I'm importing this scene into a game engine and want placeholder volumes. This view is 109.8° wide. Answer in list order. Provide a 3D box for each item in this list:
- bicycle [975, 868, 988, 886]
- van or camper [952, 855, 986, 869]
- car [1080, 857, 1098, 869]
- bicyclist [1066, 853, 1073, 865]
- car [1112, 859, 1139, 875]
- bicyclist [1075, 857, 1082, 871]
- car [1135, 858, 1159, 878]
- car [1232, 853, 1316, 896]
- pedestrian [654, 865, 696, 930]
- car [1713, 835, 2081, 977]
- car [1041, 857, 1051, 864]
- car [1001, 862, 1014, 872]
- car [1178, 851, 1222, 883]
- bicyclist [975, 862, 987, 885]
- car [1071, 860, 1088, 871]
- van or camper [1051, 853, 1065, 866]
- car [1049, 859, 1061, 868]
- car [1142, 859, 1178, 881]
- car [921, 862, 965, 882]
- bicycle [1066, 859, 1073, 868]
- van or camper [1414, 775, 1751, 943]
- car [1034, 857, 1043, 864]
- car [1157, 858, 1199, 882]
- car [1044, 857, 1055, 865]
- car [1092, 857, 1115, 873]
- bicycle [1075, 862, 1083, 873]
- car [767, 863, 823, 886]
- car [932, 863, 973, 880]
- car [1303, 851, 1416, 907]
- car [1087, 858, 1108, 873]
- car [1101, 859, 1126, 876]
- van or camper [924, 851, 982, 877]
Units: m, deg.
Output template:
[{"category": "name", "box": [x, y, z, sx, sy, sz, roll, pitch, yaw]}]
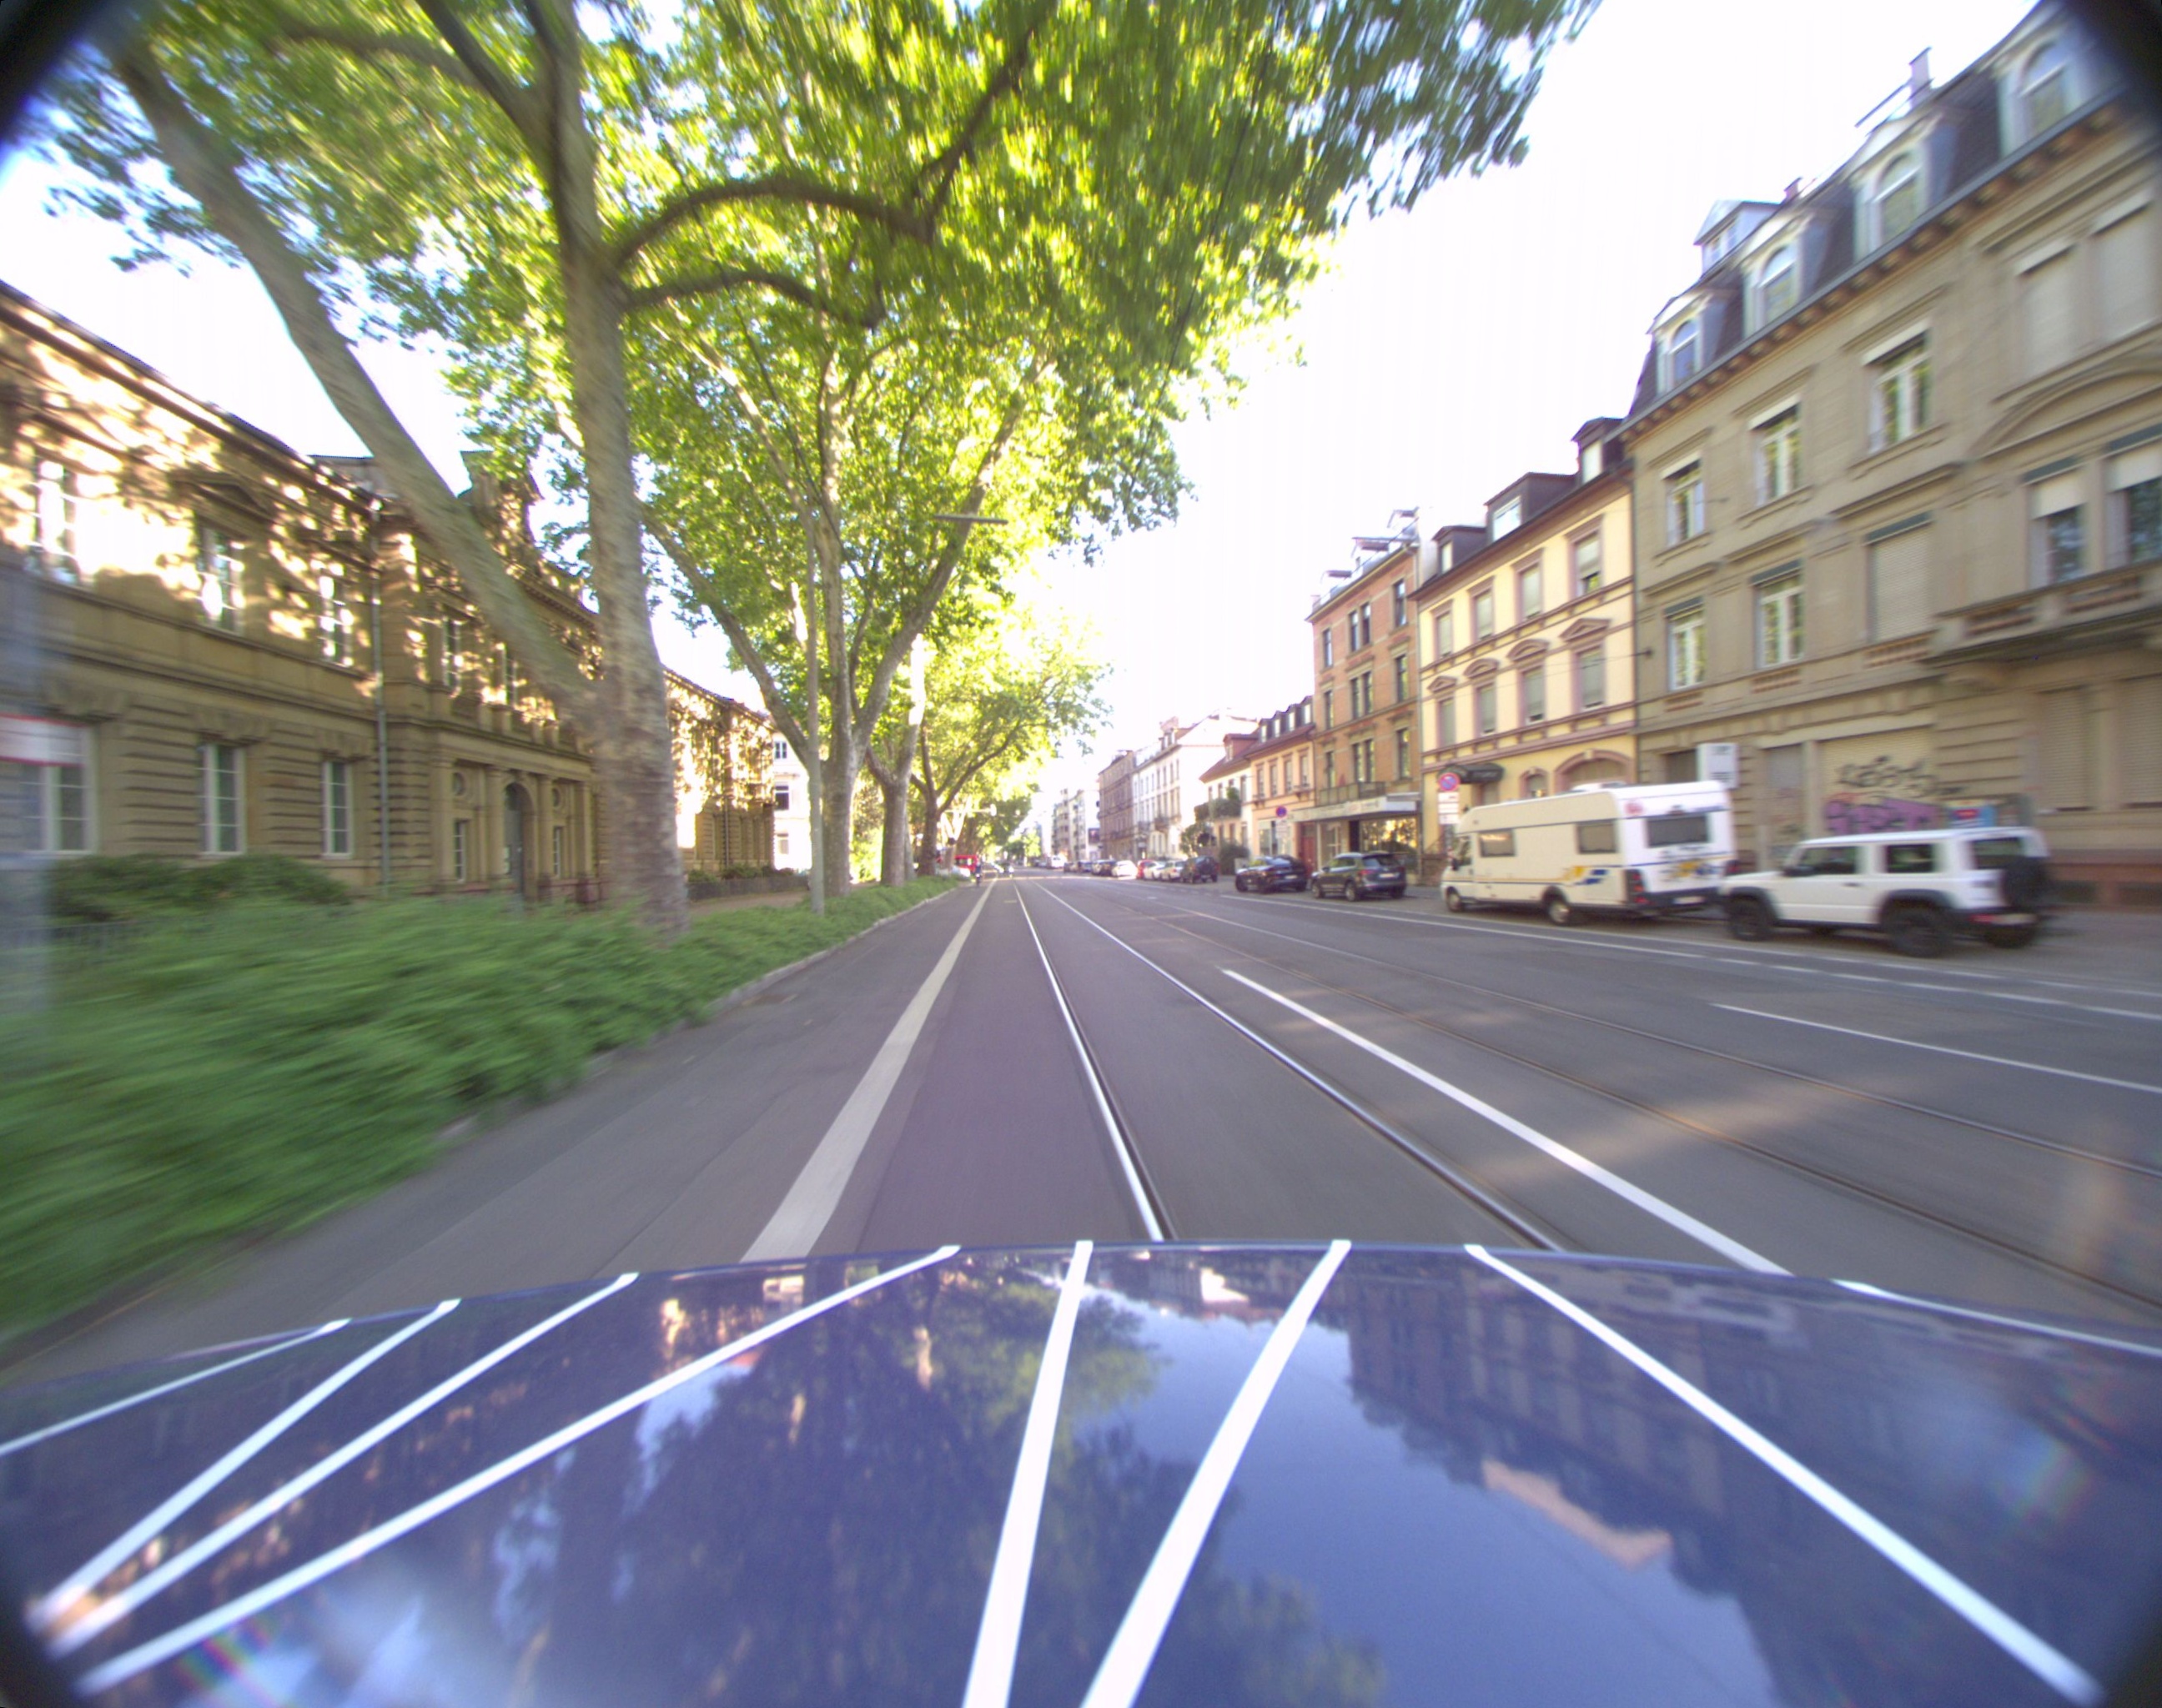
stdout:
[{"category": "bicycle", "box": [-6.370, 1.464, 48.568, 0.715, 1.131, 2.119, -1, 0, -6]}, {"category": "van or camper", "box": [-20.601, 1.465, 140.351, 6.102, 2.416, 2.427, -1, 0, -6]}, {"category": "car", "box": [0.977, 1.130, 96.427, 1.799, 1.368, 4.081, -3, 0, -7]}, {"category": "bicyclist", "box": [-1.442, 0.634, 93.453, 0.715, 1.508, 0.953, -1, 0, -6]}, {"category": "car", "box": [4.174, 1.220, 72.073, 1.869, 1.423, 4.081, -3, 0, -7]}, {"category": "bicyclist", "box": [-0.258, 1.057, 83.623, 0.715, 1.508, 0.953, -1, 0, -6]}, {"category": "car", "box": [5.337, 1.123, 61.889, 1.422, 1.502, 3.324, -3, 0, -4]}, {"category": "car", "box": [8.662, 0.886, 34.617, 2.000, 1.693, 4.747, -5, 0, -7]}, {"category": "pedestrian", "box": [-11.234, 1.174, 21.037, 0.652, 1.726, 1.007, -1, 0, -6]}, {"category": "car", "box": [11.874, 0.671, 11.397, 1.636, 1.696, 3.368, -4, 0, -9]}, {"category": "car", "box": [-7.999, 1.499, 174.025, 1.809, 1.534, 3.916, -3, 0, -9]}, {"category": "car", "box": [-11.031, 1.861, 113.445, 1.741, 1.365, 3.916, -3, 0, -7]}, {"category": "car", "box": [7.272, 0.796, 46.782, 1.729, 1.736, 3.624, -5, 0, -6]}, {"category": "bicyclist", "box": [-6.377, 1.230, 48.578, 0.715, 1.435, 0.953, -1, 0, -5]}, {"category": "car", "box": [-0.254, 1.643, 108.442, 1.799, 1.473, 4.081, -3, 0, -7]}, {"category": "van or camper", "box": [-4.153, 0.957, 137.967, 1.946, 2.267, 4.595, -3, 0, -7]}, {"category": "car", "box": [-4.911, 1.735, 144.029, 1.809, 1.534, 3.916, -3, 0, -7]}, {"category": "car", "box": [5.821, 1.168, 56.503, 1.587, 1.482, 4.468, -3, 0, -7]}, {"category": "car", "box": [-12.038, 1.570, 66.499, 3.679, 1.534, 1.613, -1, 3, -6]}, {"category": "bicycle", "box": [-1.410, 1.176, 93.377, 0.715, 1.131, 2.119, -1, 0, -7]}, {"category": "van or camper", "box": [10.923, 0.104, 17.720, 2.426, 2.930, 7.247, -5, 0, -5]}, {"category": "car", "box": [-10.640, 1.687, 189.750, 1.809, 1.534, 3.916, -3, 0, -9]}, {"category": "car", "box": [6.483, 1.035, 51.119, 1.668, 1.446, 4.401, -4, 0, -7]}, {"category": "car", "box": [-6.768, 1.567, 163.494, 1.809, 1.534, 3.916, -3, 0, -7]}, {"category": "car", "box": [2.430, 1.194, 82.394, 1.799, 1.630, 4.252, -3, 0, -7]}, {"category": "bicycle", "box": [-0.220, 1.463, 83.648, 0.715, 1.131, 2.119, -1, 0, -6]}, {"category": "car", "box": [-21.490, 1.555, 57.280, 3.573, 1.534, 1.735, -1, 3, -6]}, {"category": "car", "box": [-12.115, 1.644, 71.662, 3.679, 1.410, 1.613, -1, 3, -6]}, {"category": "car", "box": [9.782, 0.842, 27.070, 1.816, 1.695, 4.440, -5, 0, -7]}, {"category": "car", "box": [1.875, 1.287, 88.601, 1.799, 1.630, 4.573, -3, 0, -7]}, {"category": "car", "box": [3.241, 1.324, 77.139, 1.799, 1.587, 4.081, -3, 0, -7]}, {"category": "van or camper", "box": [-13.493, 1.072, 80.626, 5.932, 2.484, 2.218, -1, 3, -8]}]
